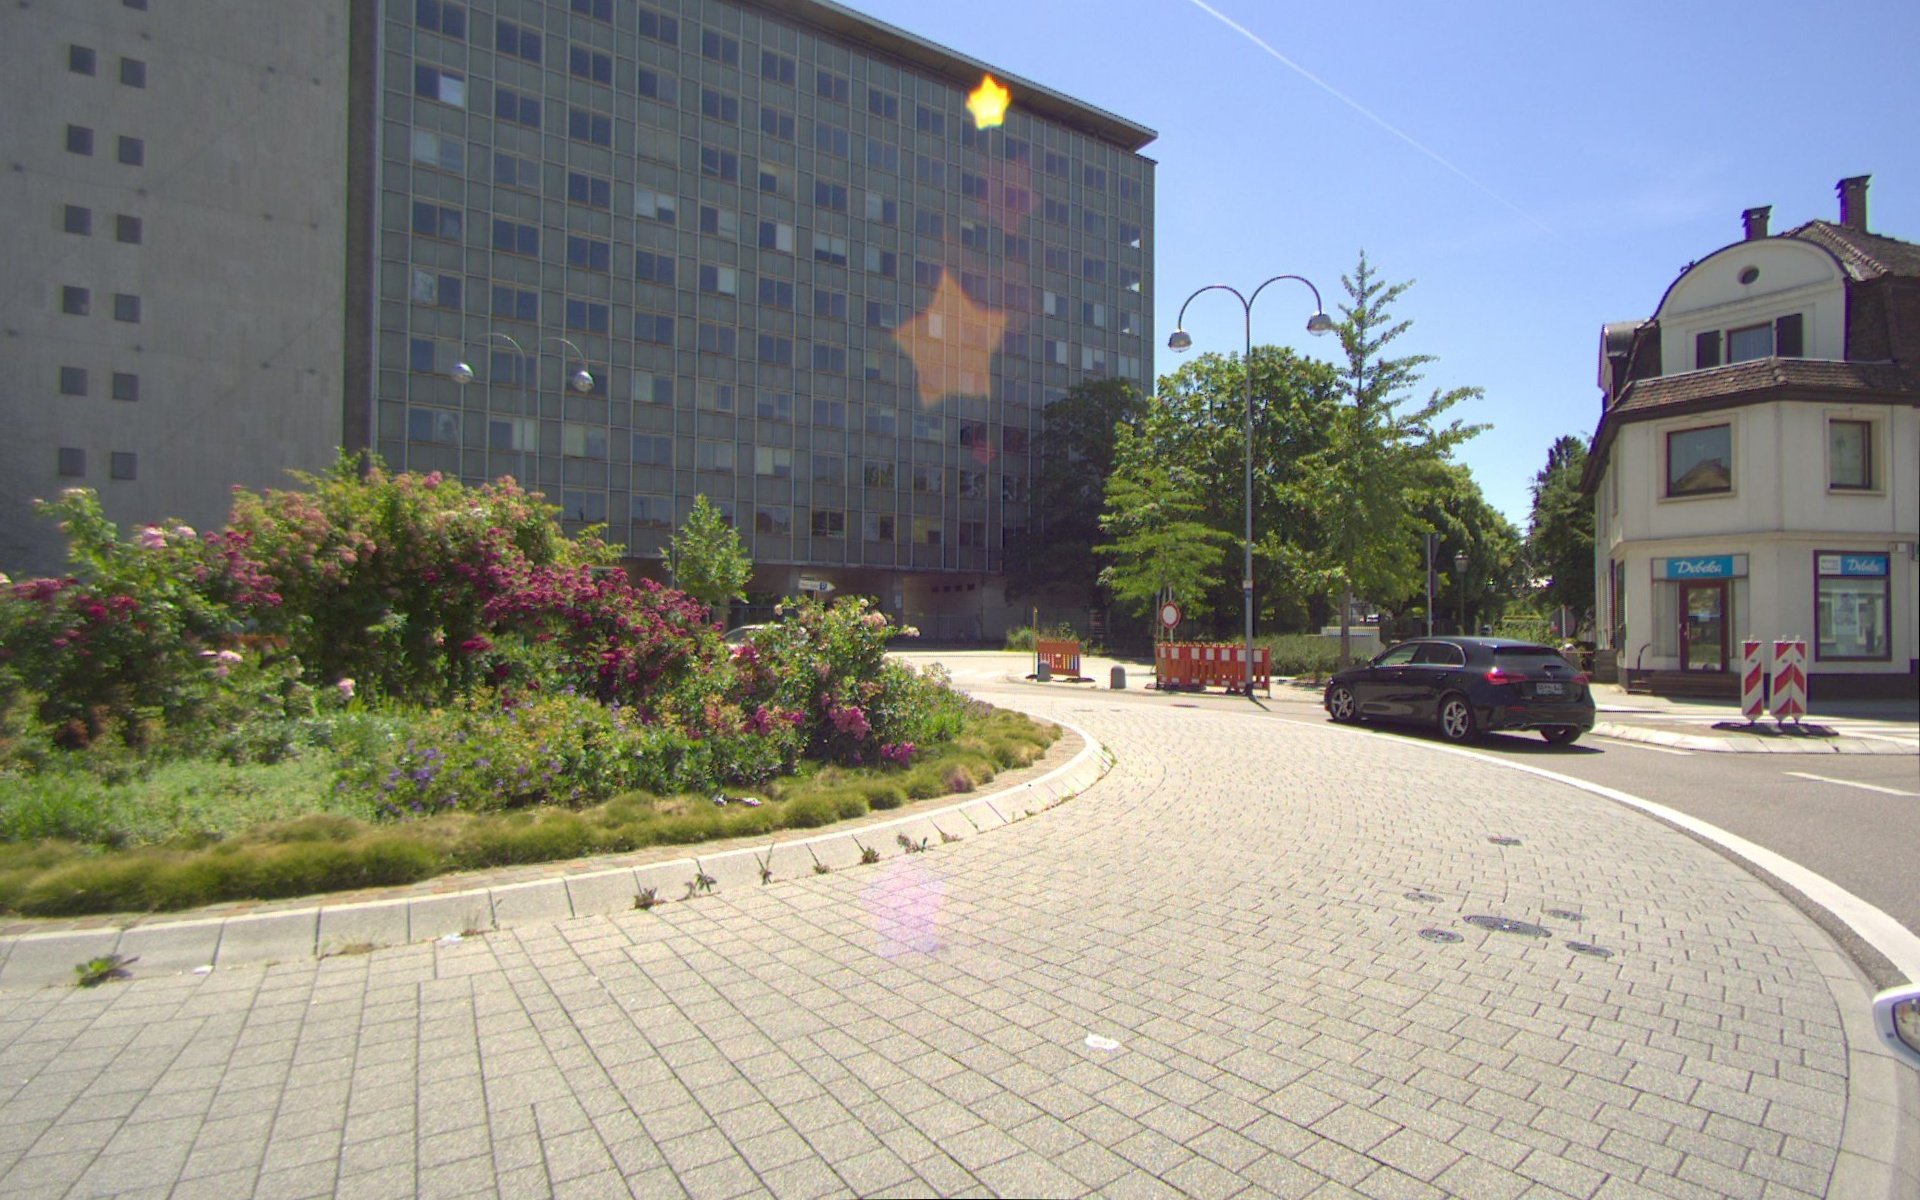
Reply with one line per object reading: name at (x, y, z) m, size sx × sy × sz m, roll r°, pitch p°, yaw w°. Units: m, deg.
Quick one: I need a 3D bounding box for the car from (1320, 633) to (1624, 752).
car at (7.221, 1.246, 14.681) m, size 1.925 × 1.446 × 3.992 m, roll 2°, pitch -2°, yaw -11°

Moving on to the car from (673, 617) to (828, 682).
car at (-5.710, 1.374, 27.647) m, size 1.766 × 1.617 × 3.900 m, roll -6°, pitch -6°, yaw 41°
